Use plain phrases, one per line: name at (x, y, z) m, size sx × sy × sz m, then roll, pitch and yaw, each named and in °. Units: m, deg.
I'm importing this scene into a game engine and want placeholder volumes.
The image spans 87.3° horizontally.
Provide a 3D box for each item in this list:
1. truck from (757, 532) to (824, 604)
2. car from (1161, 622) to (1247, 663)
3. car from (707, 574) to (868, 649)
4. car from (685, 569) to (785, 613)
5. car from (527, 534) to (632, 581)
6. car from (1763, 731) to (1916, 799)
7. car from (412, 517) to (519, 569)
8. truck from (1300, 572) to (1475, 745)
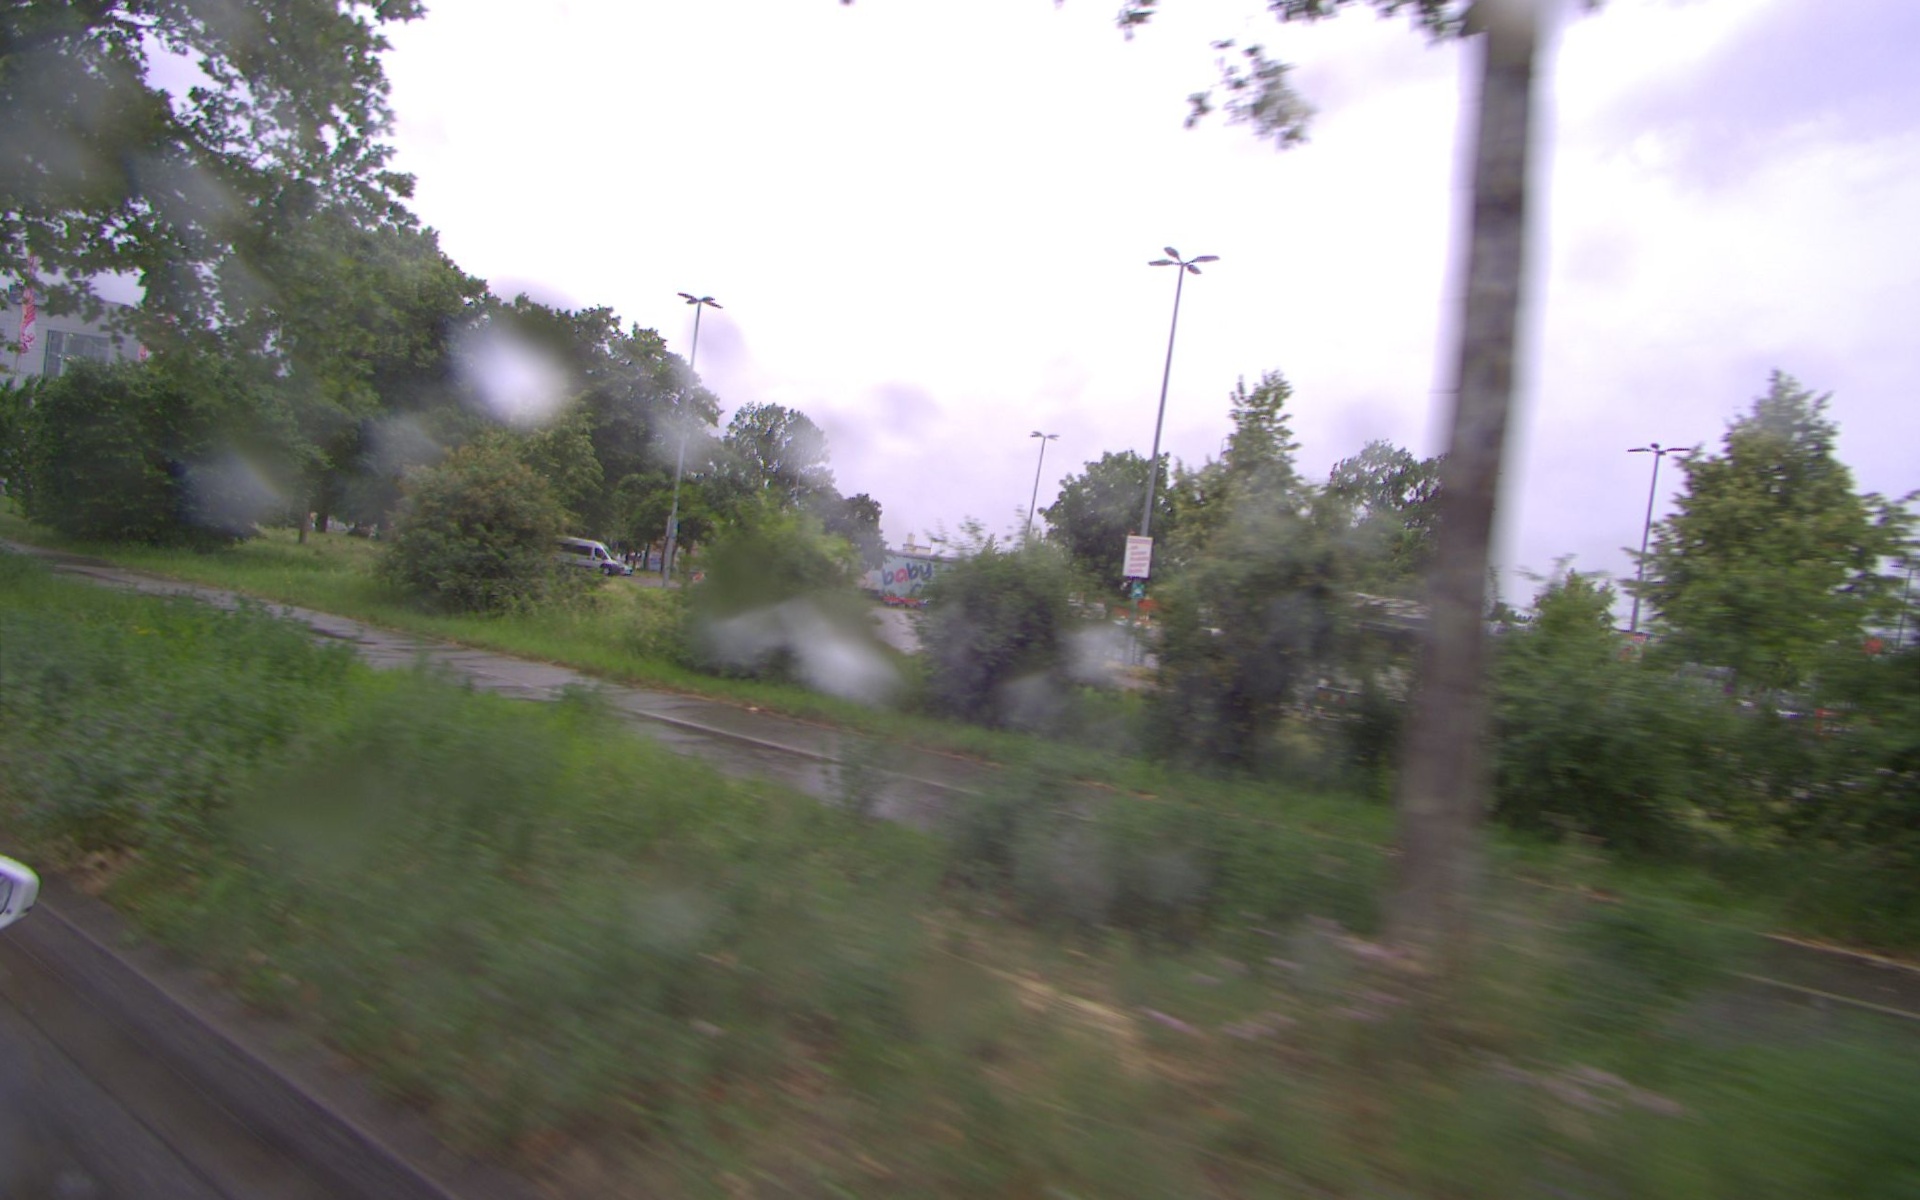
truck at (-10.666, -1.888, 64.241) m, size 2.950 × 3.856 × 8.285 m, roll 7°, pitch -1°, yaw -3°
car at (17.571, 3.073, 72.620) m, size 5.563 × 2.168 × 2.002 m, roll 7°, pitch -2°, yaw 5°
car at (-4.250, 0.330, 25.386) m, size 1.836 × 1.380 × 3.999 m, roll 6°, pitch -2°, yaw 28°
car at (-9.989, -0.395, 44.952) m, size 3.928 × 1.380 × 2.001 m, roll 7°, pitch -2°, yaw -3°
car at (-28.367, -3.139, 75.128) m, size 6.702 × 2.464 × 2.327 m, roll 7°, pitch 0°, yaw -4°
car at (31.926, 5.980, 36.584) m, size 3.931 × 1.738 × 1.997 m, roll 7°, pitch 0°, yaw -8°
car at (-27.687, -3.161, 56.453) m, size 4.833 × 2.179 × 1.803 m, roll 7°, pitch 0°, yaw -9°
truck at (7.687, 1.126, 18.024) m, size 2.180 × 2.330 × 6.555 m, roll 6°, pitch -2°, yaw 24°
